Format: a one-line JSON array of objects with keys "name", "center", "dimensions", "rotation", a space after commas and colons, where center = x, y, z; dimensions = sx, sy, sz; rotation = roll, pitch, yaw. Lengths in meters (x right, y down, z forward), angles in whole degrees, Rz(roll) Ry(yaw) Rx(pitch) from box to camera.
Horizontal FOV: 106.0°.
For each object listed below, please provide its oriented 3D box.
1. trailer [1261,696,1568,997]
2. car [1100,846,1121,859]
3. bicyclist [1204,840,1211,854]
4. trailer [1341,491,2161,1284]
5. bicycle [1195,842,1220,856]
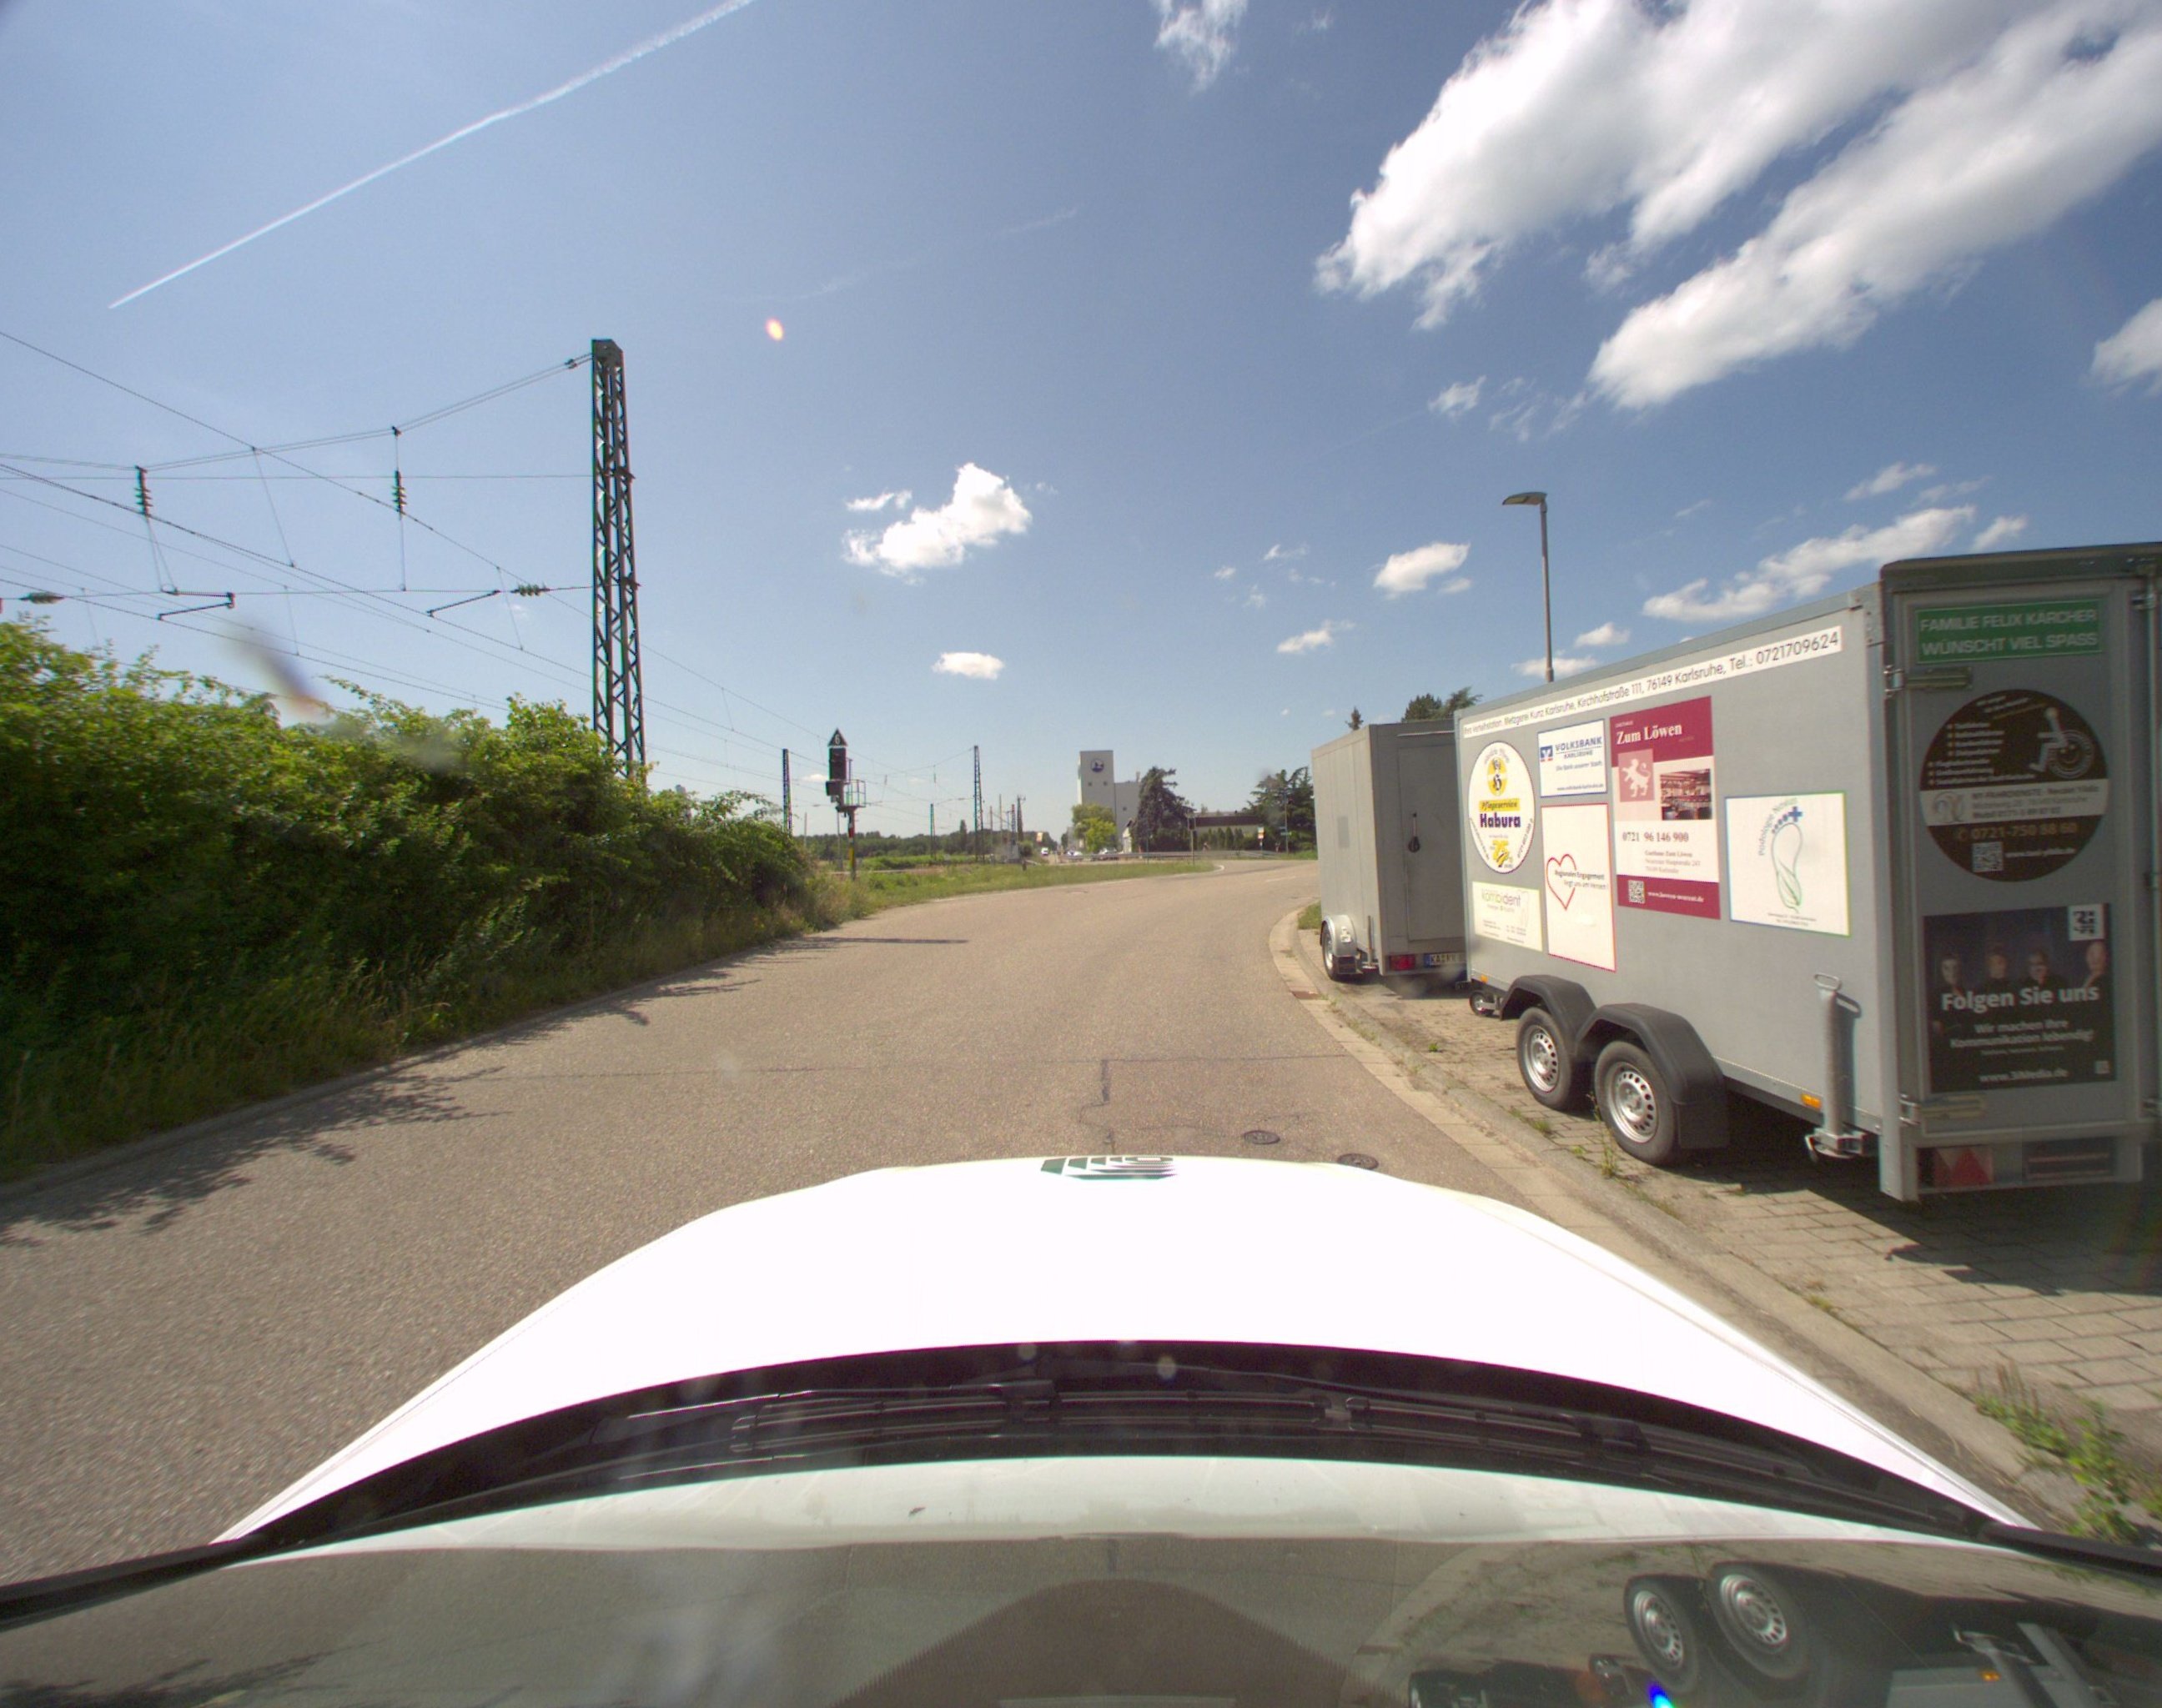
[{"name": "trailer", "center": [3.653, -0.100, 10.146], "dimensions": [1.924, 2.644, 5.191], "rotation": [-4, 1, 5]}, {"name": "car", "center": [3.692, -0.173, 102.977], "dimensions": [1.991, 1.509, 4.444], "rotation": [-2, 1, -6]}, {"name": "bicyclist", "center": [11.646, -0.678, 75.015], "dimensions": [0.505, 1.255, 0.472], "rotation": [-2, 1, 23]}, {"name": "trailer", "center": [3.419, 0.054, 5.041], "dimensions": [1.913, 2.508, 4.740], "rotation": [-5, 1, 0]}, {"name": "bicycle", "center": [11.654, -0.470, 74.916], "dimensions": [2.120, 1.164, 0.665], "rotation": [-1, 1, 23]}]
